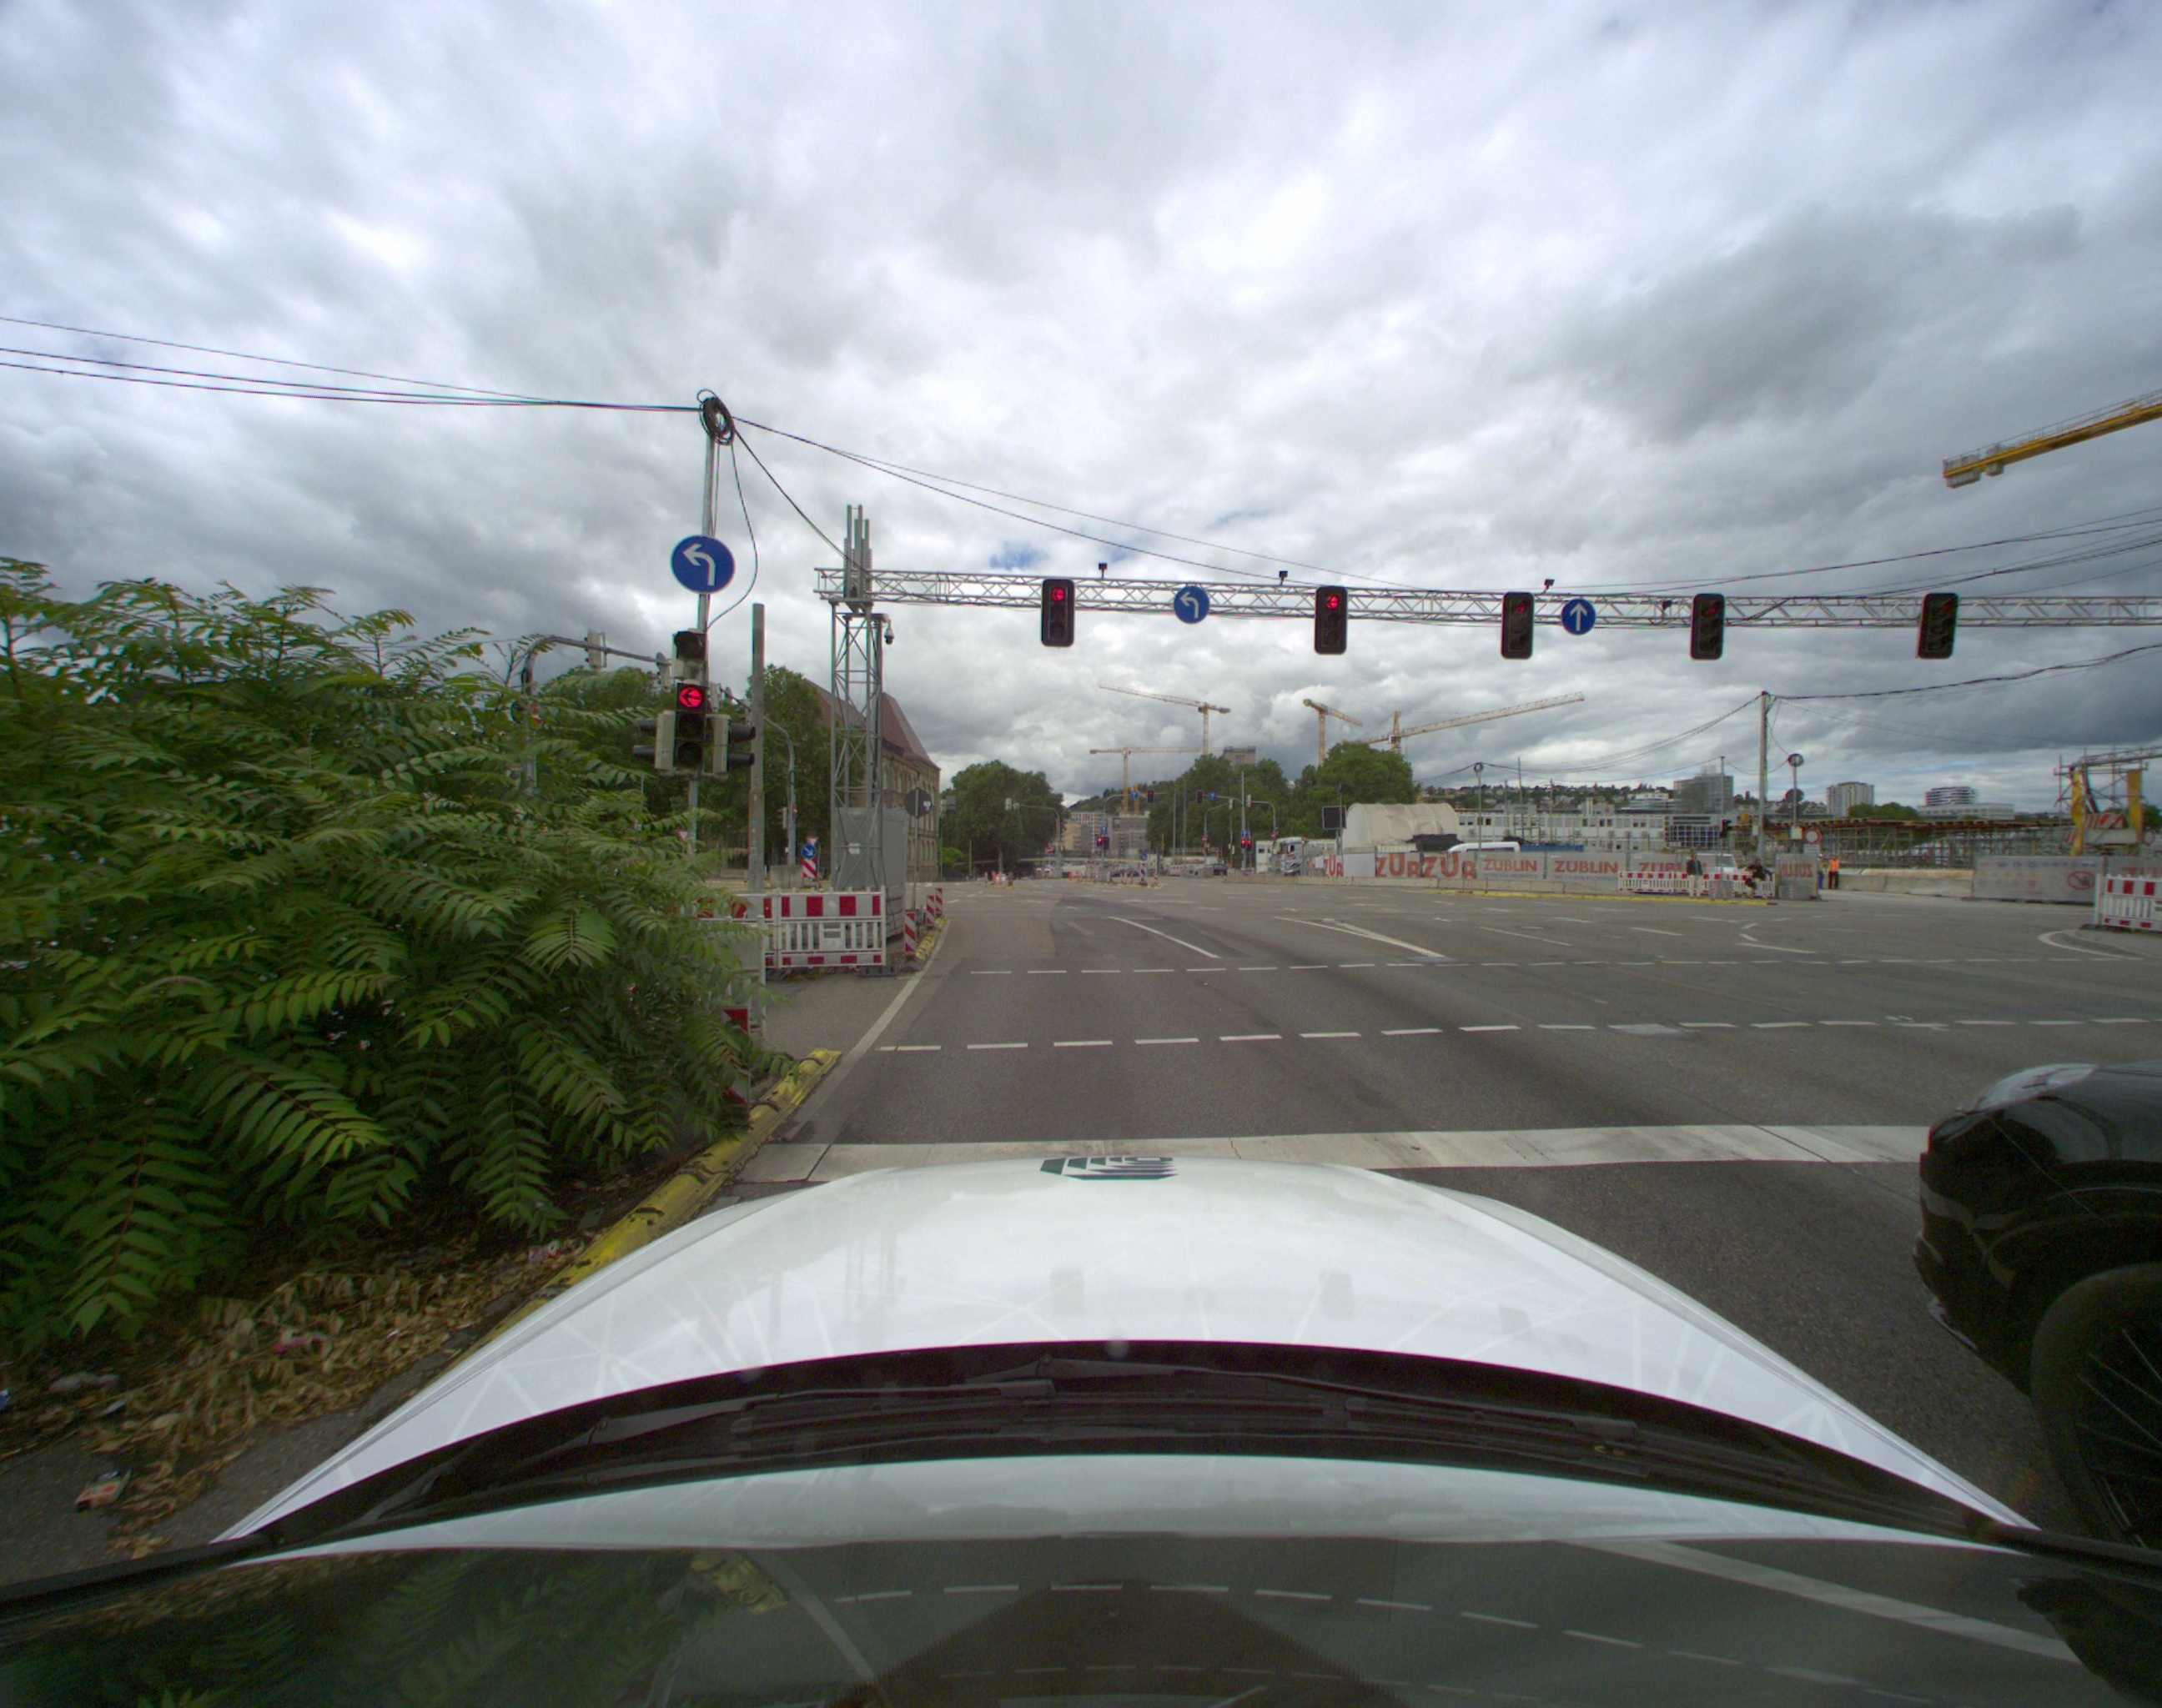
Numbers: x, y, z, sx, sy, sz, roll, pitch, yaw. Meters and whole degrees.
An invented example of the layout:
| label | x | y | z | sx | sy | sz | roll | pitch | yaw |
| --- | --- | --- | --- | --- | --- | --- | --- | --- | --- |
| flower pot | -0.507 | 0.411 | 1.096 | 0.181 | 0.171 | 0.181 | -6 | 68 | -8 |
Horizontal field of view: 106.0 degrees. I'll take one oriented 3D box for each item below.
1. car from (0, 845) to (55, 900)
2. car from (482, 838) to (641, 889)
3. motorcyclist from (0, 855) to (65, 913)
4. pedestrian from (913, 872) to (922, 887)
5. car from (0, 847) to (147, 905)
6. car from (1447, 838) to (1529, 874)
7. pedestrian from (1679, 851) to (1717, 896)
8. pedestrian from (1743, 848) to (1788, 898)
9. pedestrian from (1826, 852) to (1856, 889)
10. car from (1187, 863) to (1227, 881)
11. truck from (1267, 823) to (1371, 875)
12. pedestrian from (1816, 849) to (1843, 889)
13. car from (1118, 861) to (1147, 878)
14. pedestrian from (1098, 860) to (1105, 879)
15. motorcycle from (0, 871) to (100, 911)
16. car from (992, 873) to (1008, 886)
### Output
| label | x | y | z | sx | sy | sz | roll | pitch | yaw |
| --- | --- | --- | --- | --- | --- | --- | --- | --- | --- |
| car | -32.873 | 0.544 | 23.417 | 4.095 | 1.547 | 1.999 | 0 | -1 | -1 |
| car | -19.063 | 0.339 | 30.071 | 4.490 | 1.759 | 1.993 | 0 | -1 | -10 |
| motorcyclist | -25.609 | 0.724 | 19.843 | 0.786 | 1.380 | 0.697 | 0 | -1 | -2 |
| pedestrian | -21.707 | 3.347 | 108.159 | 0.946 | 2.014 | 0.767 | 0 | -1 | 3 |
| car | -29.609 | 0.603 | 22.978 | 4.095 | 1.547 | 1.999 | 0 | -1 | -2 |
| car | 23.459 | 0.121 | 47.101 | 3.955 | 2.014 | 2.009 | -1 | -1 | 17 |
| pedestrian | 25.799 | 0.813 | 34.075 | 1.035 | 1.848 | 0.794 | -1 | -1 | 17 |
| pedestrian | 28.425 | 0.779 | 33.842 | 1.037 | 2.014 | 1.037 | -1 | -1 | 8 |
| pedestrian | 39.105 | 0.841 | 41.923 | 0.677 | 1.916 | 0.865 | 0 | -1 | -4 |
| car | 14.211 | 2.001 | 91.570 | 3.948 | 2.014 | 2.013 | -1 | -1 | 32 |
| truck | 23.579 | -0.526 | 80.613 | 9.734 | 4.961 | 3.097 | 0 | -1 | -16 |
| pedestrian | 38.279 | 0.748 | 41.656 | 0.673 | 2.014 | 0.869 | -1 | -1 | 14 |
| car | 6.499 | 1.966 | 103.322 | 2.001 | 2.014 | 4.246 | 0 | -1 | -22 |
| pedestrian | 2.050 | 1.535 | 81.710 | 0.583 | 1.840 | 0.604 | 0 | -1 | -2 |
| motorcycle | -25.538 | 0.893 | 19.835 | 2.342 | 0.941 | 0.697 | -1 | -1 | -2 |
| car | -11.926 | 3.701 | 119.591 | 1.987 | 1.838 | 3.998 | 0 | -1 | -1 |
